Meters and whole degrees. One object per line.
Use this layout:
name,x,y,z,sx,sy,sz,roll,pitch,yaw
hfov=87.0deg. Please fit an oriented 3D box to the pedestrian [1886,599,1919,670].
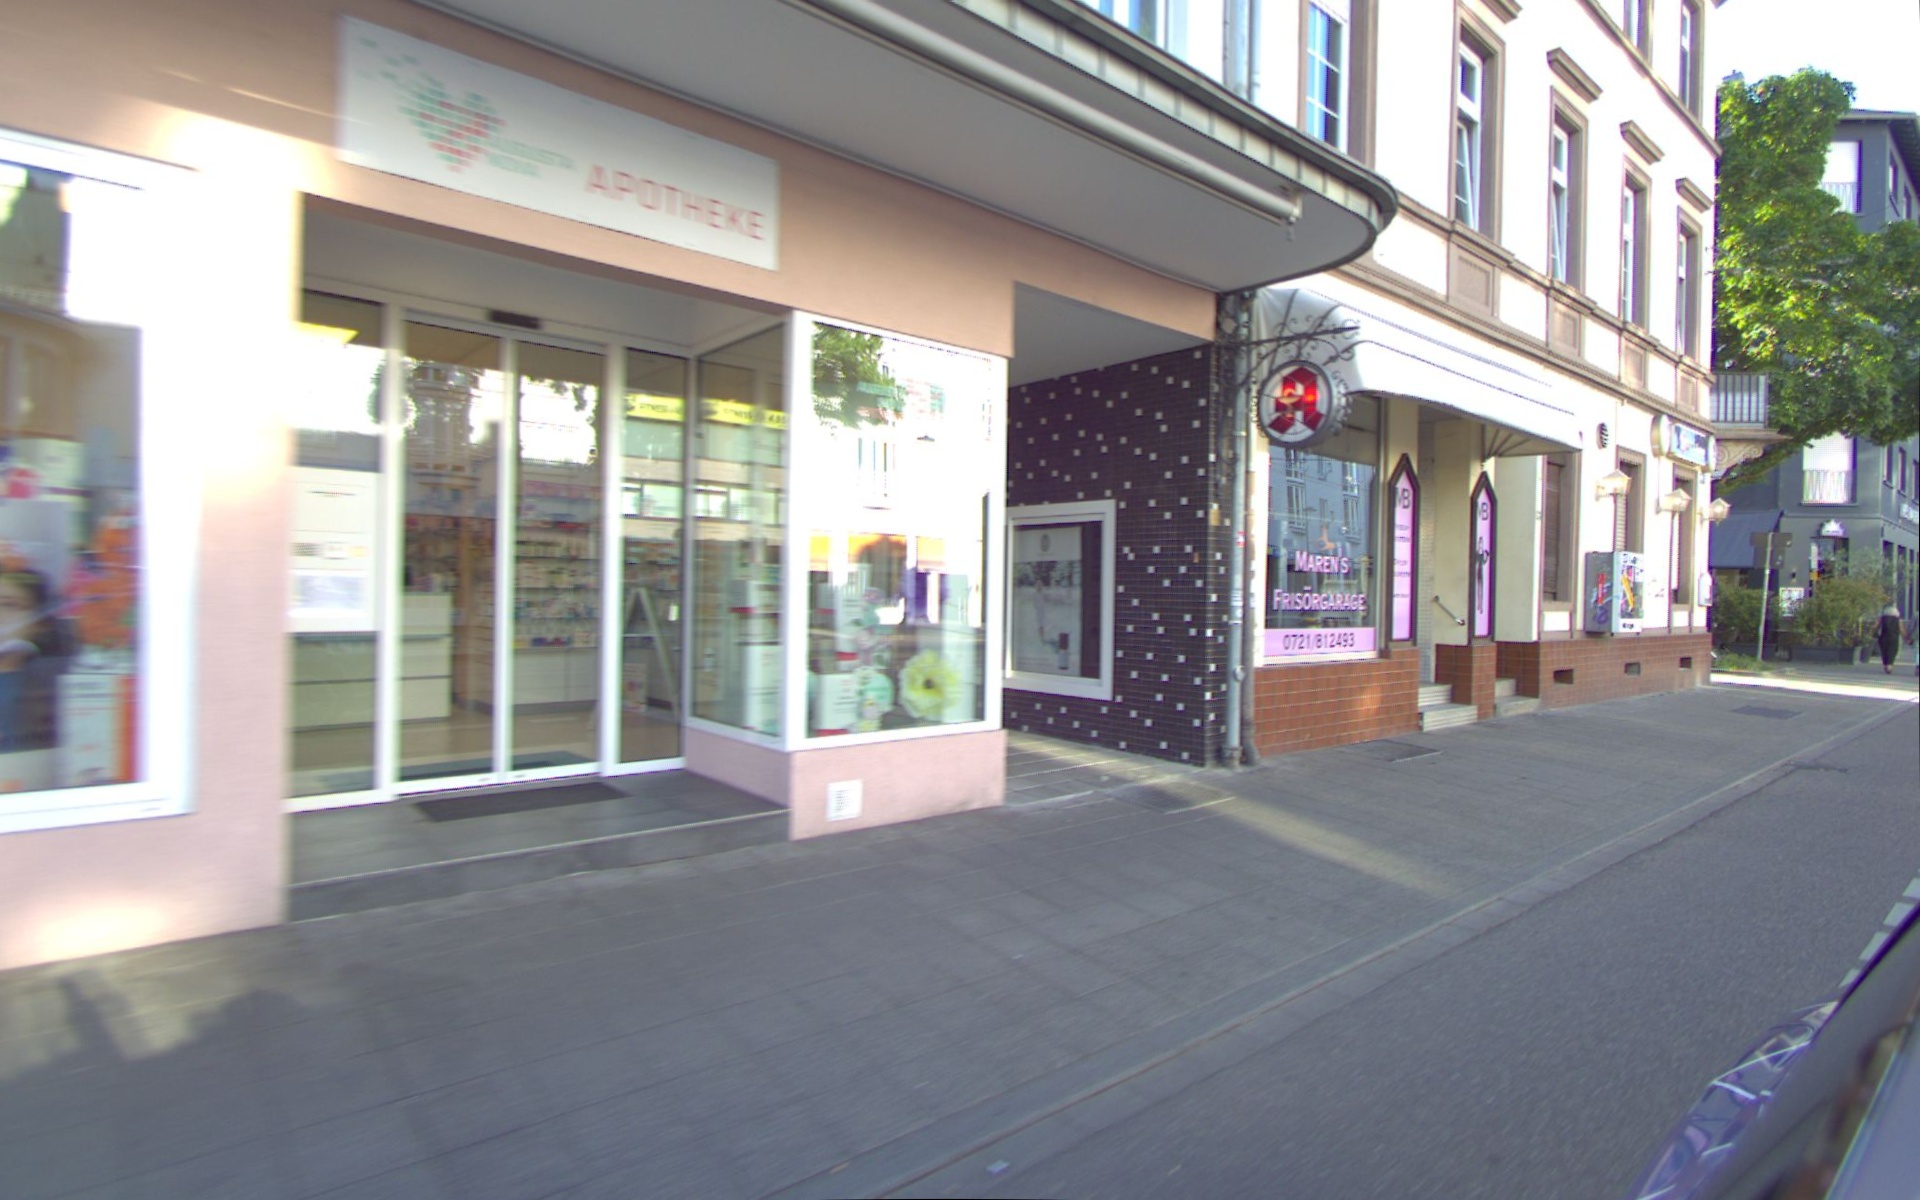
pedestrian,21.821,0.782,23.344,0.649,1.598,0.672,1,1,43
